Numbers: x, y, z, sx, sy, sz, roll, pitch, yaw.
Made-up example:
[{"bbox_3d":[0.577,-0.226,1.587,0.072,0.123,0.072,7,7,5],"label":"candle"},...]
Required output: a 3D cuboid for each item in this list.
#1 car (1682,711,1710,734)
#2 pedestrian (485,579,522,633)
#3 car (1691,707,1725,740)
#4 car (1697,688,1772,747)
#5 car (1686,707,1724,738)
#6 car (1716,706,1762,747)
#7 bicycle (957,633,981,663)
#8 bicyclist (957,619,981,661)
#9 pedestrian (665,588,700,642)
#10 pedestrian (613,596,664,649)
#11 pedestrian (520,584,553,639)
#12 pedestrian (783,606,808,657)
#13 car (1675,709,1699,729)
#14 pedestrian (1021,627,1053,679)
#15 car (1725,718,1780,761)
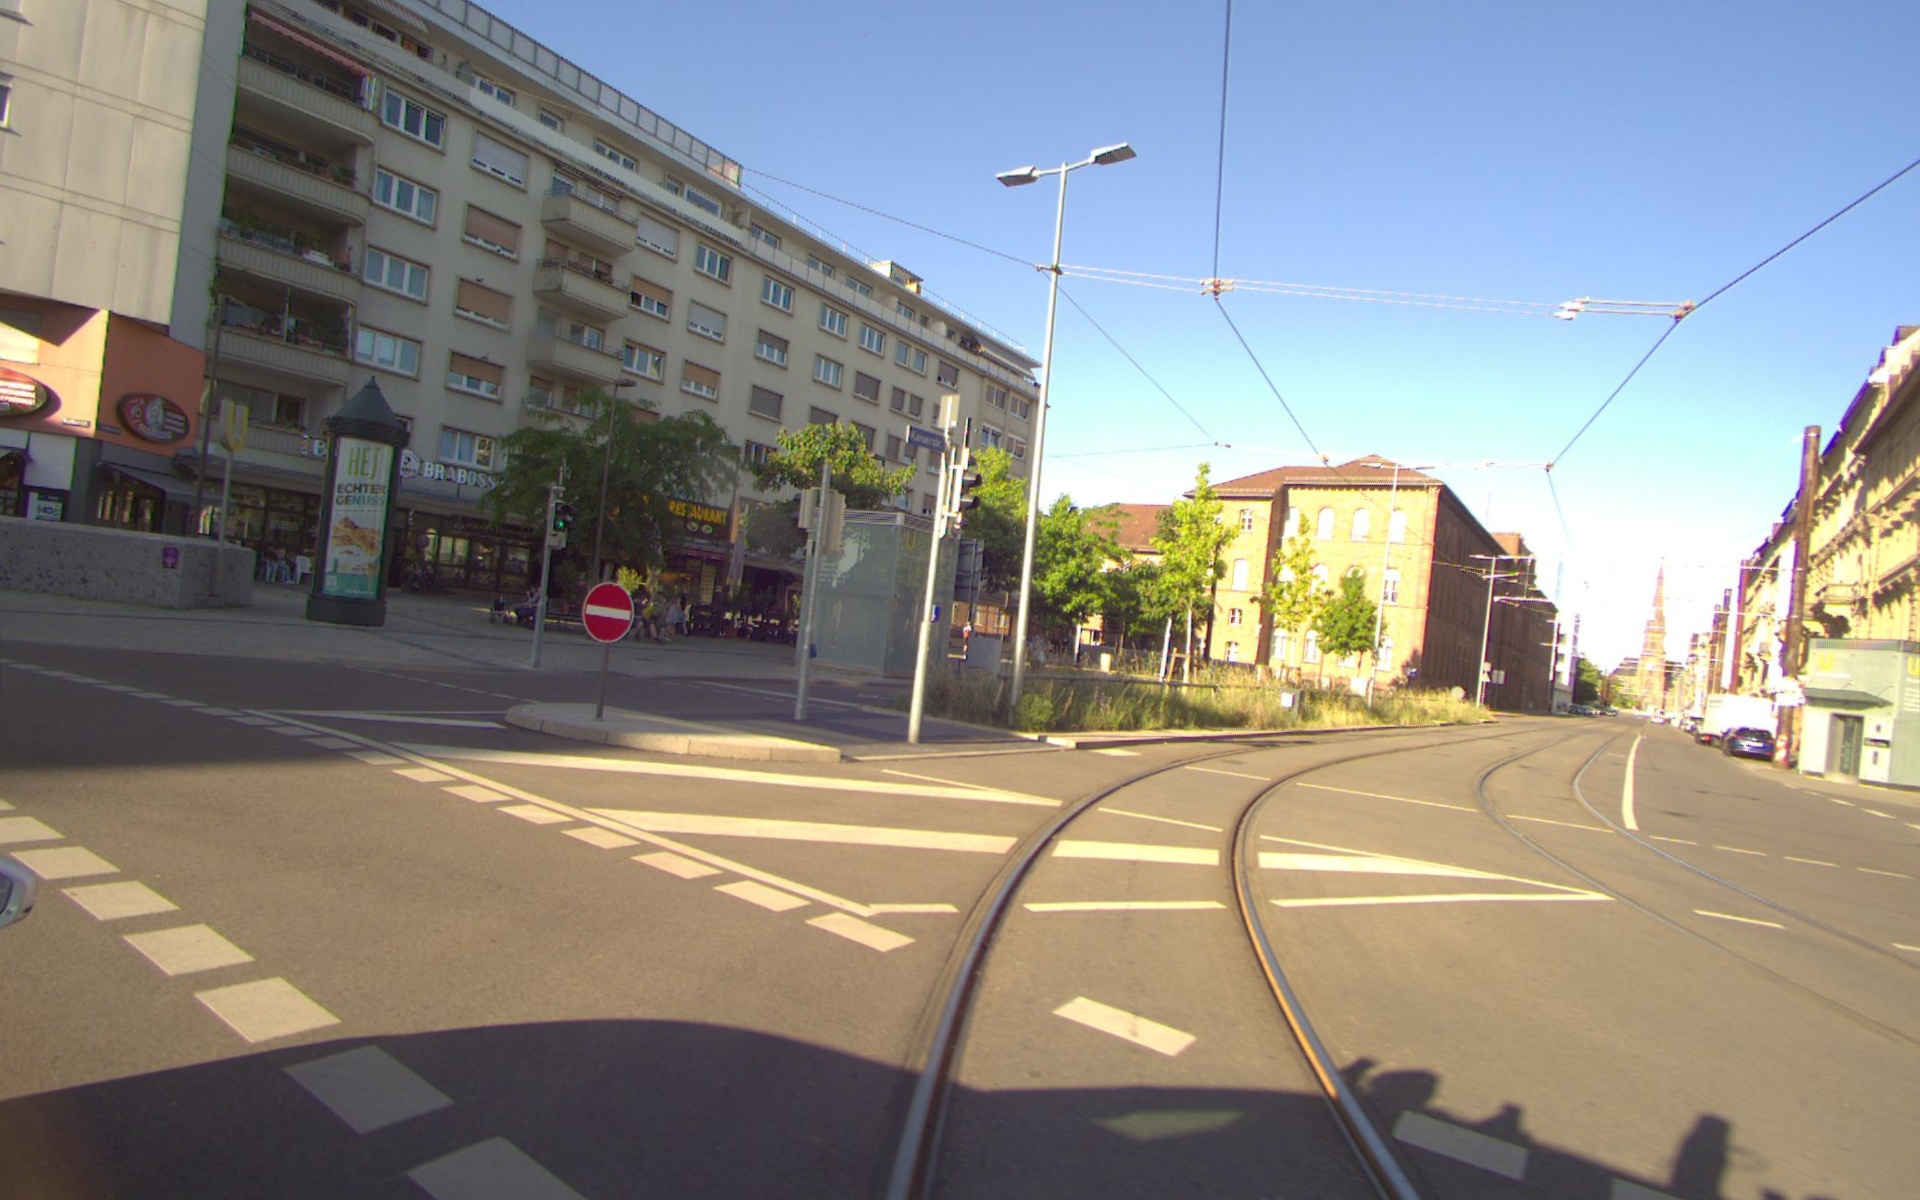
[{"bbox_3d":[80.840,13.464,110.457,2.202,2.035,4.333,6,-4,38],"label":"car"},{"bbox_3d":[-13.184,0.166,29.063,0.711,1.463,0.925,8,0,-19],"label":"pedestrian"},{"bbox_3d":[66.268,10.953,89.141,2.202,2.409,4.333,6,-4,38],"label":"car"},{"bbox_3d":[46.034,6.912,59.931,2.239,3.058,5.362,5,-1,26],"label":"car"},{"bbox_3d":[60.518,9.957,81.702,2.202,2.035,4.333,6,-4,38],"label":"car"},{"bbox_3d":[42.907,6.944,55.485,1.702,1.996,3.916,5,-2,36],"label":"car"},{"bbox_3d":[0.418,2.338,49.490,0.884,1.267,2.213,8,-1,-4],"label":"bicycle"},{"bbox_3d":[0.447,1.960,49.632,0.884,1.973,0.786,8,0,-4],"label":"bicyclist"},{"bbox_3d":[-9.676,0.524,35.123,0.705,1.767,0.682,7,0,25],"label":"pedestrian"},{"bbox_3d":[-9.444,0.658,29.585,1.089,1.381,0.720,8,0,27],"label":"pedestrian"},{"bbox_3d":[-12.129,0.319,28.835,0.711,1.437,0.924,8,0,-23],"label":"pedestrian"},{"bbox_3d":[-5.722,1.085,35.002,0.499,1.691,0.475,7,0,38],"label":"pedestrian"},{"bbox_3d":[91.053,14.869,125.975,2.202,2.035,4.333,6,-4,38],"label":"car"},{"bbox_3d":[2.616,1.801,34.206,0.624,1.691,0.753,7,0,30],"label":"pedestrian"},{"bbox_3d":[36.413,6.384,46.298,1.702,1.630,3.916,5,-2,36],"label":"car"}]
